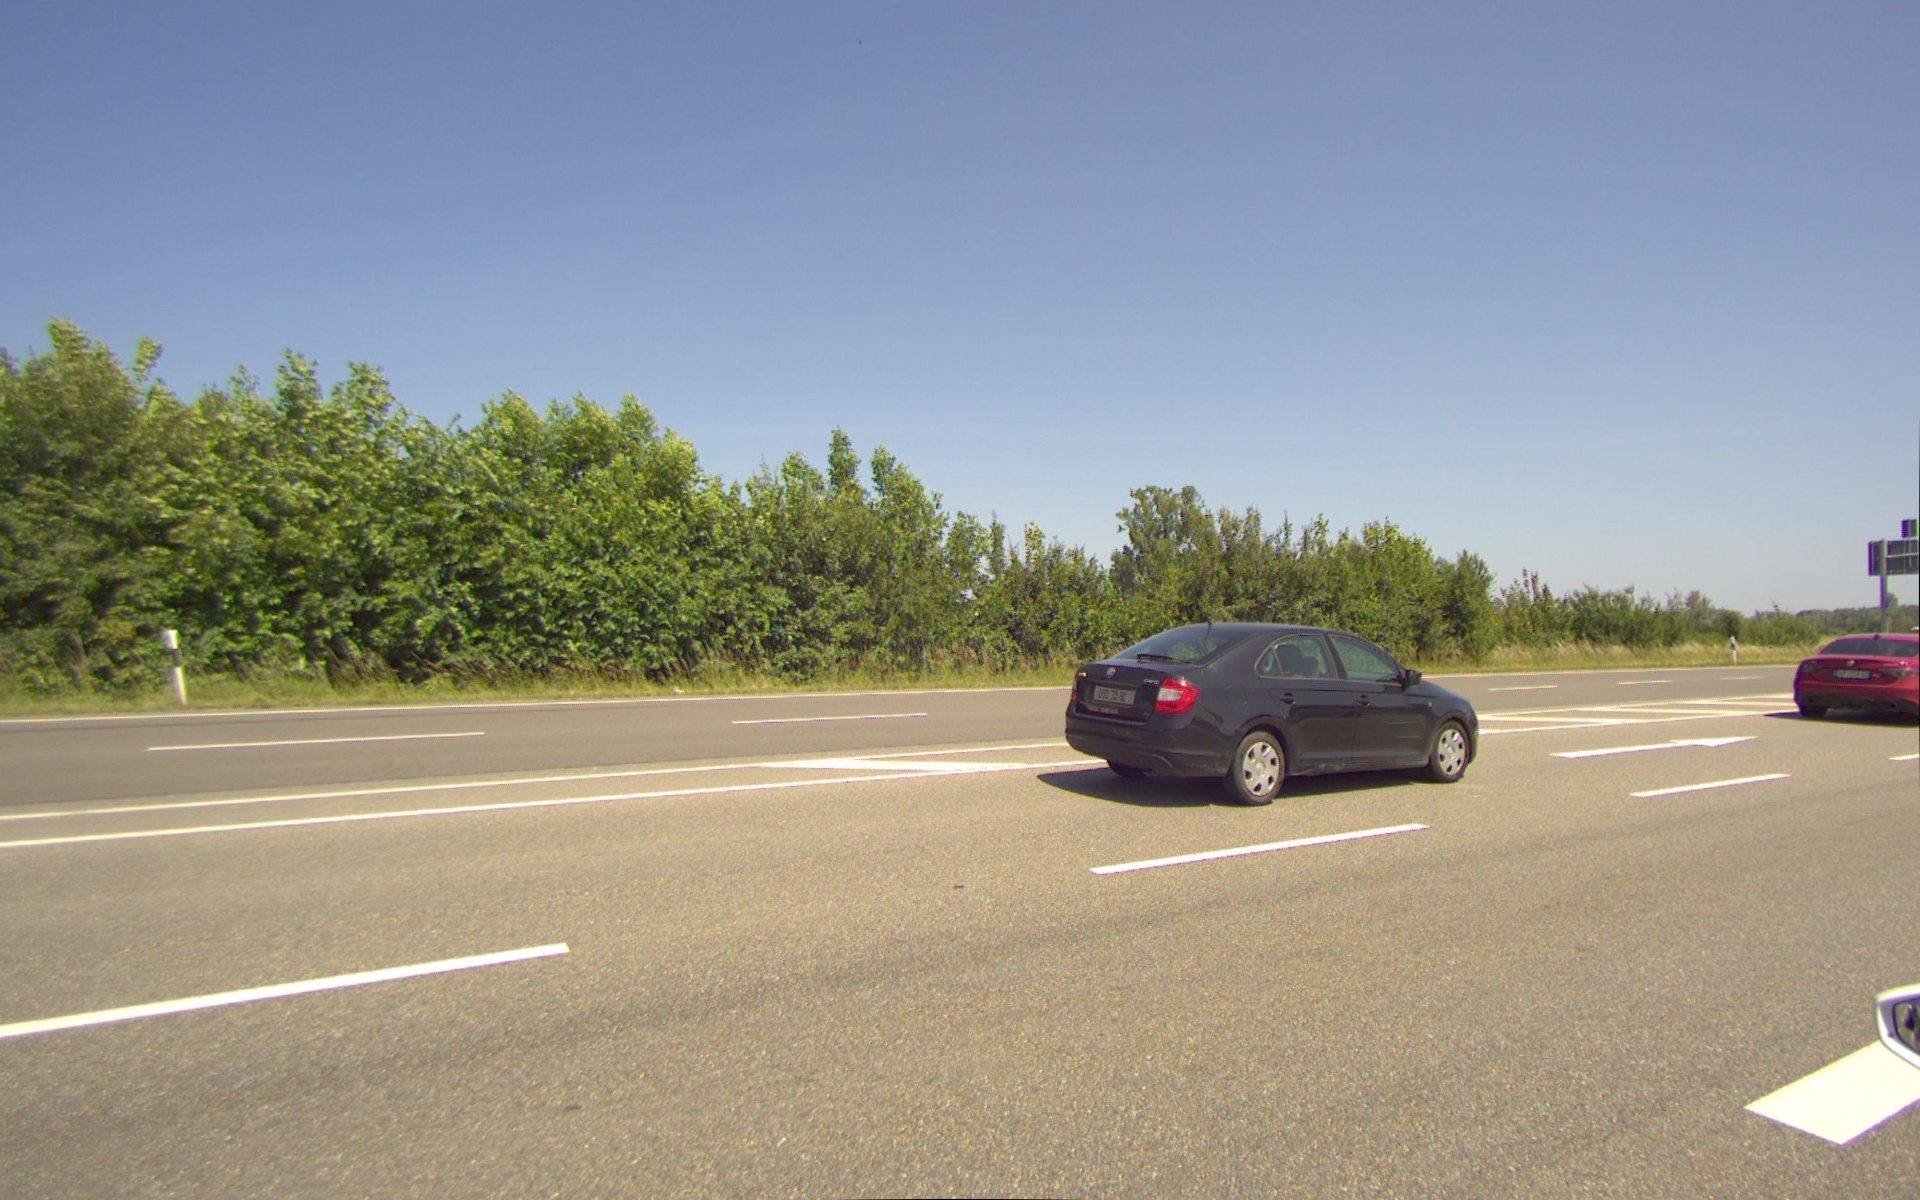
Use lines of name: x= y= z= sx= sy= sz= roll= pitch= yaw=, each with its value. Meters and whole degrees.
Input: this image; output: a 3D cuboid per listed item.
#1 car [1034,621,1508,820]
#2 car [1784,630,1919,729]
car: x=2.956 y=0.924 z=9.220 sx=4.416 sy=1.430 sz=1.666 roll=1 pitch=0 yaw=-31
car: x=16.122 y=1.270 z=17.210 sx=4.514 sy=1.440 sz=1.740 roll=1 pitch=0 yaw=-32
